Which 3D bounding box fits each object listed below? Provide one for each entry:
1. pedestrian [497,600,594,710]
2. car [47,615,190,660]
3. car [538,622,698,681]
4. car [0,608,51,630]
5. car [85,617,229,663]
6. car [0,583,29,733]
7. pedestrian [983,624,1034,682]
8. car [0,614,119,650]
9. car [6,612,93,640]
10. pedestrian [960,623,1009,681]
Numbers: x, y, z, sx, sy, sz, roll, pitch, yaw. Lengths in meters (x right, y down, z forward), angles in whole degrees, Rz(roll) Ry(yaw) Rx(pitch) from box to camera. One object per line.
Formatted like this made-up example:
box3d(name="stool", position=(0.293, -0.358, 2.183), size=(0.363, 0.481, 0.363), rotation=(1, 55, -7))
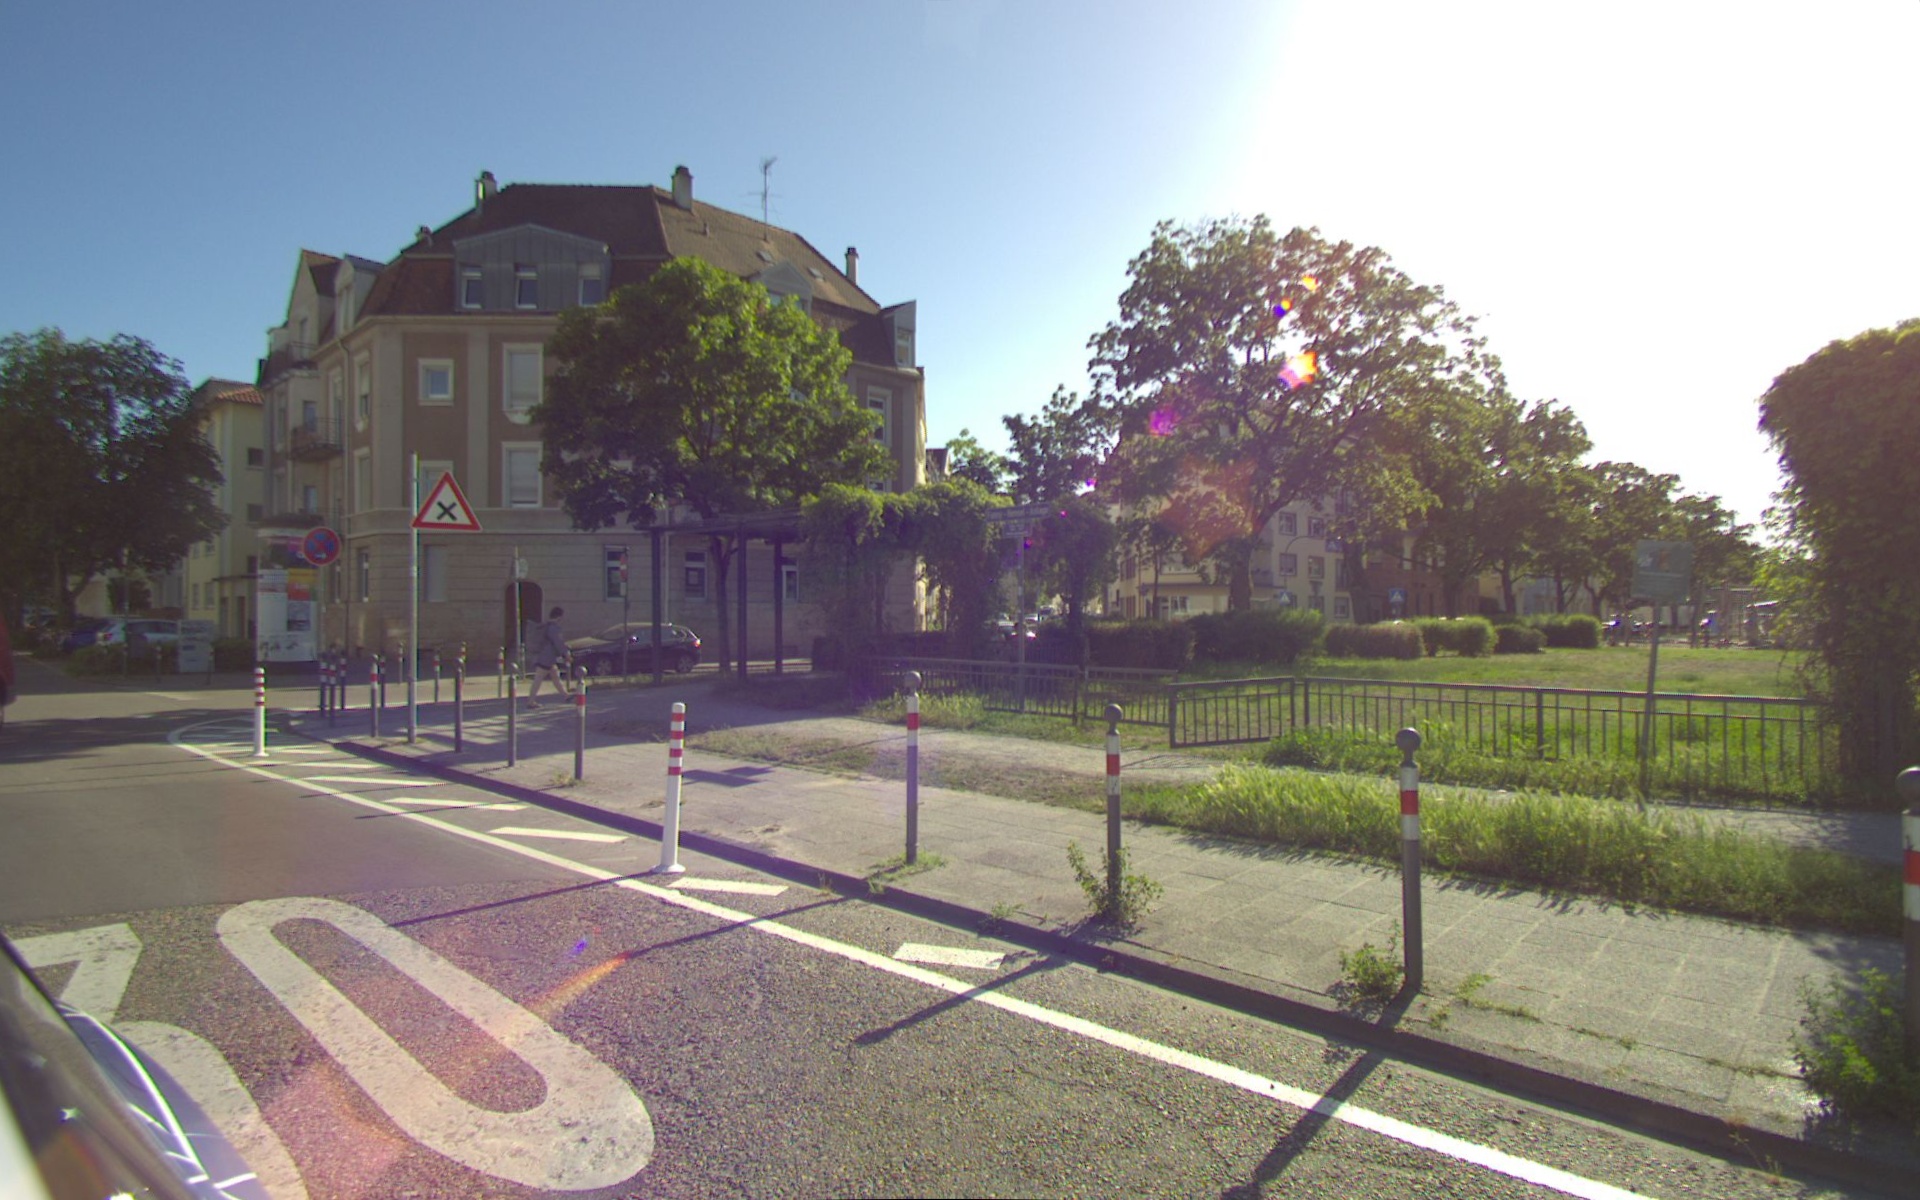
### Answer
box3d(name="pedestrian", position=(-6.733, 0.861, 16.475), size=(0.909, 1.686, 1.081), rotation=(-1, 2, 26))
box3d(name="car", position=(-30.340, 1.315, 36.558), size=(1.691, 1.506, 3.740), rotation=(-1, 0, 41))
box3d(name="car", position=(-9.841, 1.433, 29.316), size=(1.867, 1.494, 3.960), rotation=(3, 1, 41))
box3d(name="car", position=(-74.971, 1.511, 80.740), size=(1.692, 1.716, 3.482), rotation=(-1, 0, 42))
box3d(name="car", position=(-28.221, 1.374, 35.622), size=(1.691, 1.455, 3.740), rotation=(-1, 0, 41))
box3d(name="car", position=(-12.882, 0.759, 11.364), size=(1.864, 1.975, 4.902), rotation=(1, 0, -21))
box3d(name="pedestrian", position=(0.980, 1.051, 20.447), size=(0.599, 1.147, 0.862), rotation=(-1, -2, 45))
box3d(name="car", position=(-41.021, 1.434, 46.157), size=(1.686, 1.506, 3.752), rotation=(-1, 0, 30))
box3d(name="car", position=(-51.900, 1.453, 57.739), size=(1.690, 1.506, 3.485), rotation=(-1, 0, 39))
box3d(name="pedestrian", position=(0.508, 1.063, 20.938), size=(0.599, 1.158, 0.834), rotation=(-1, -2, 45))
